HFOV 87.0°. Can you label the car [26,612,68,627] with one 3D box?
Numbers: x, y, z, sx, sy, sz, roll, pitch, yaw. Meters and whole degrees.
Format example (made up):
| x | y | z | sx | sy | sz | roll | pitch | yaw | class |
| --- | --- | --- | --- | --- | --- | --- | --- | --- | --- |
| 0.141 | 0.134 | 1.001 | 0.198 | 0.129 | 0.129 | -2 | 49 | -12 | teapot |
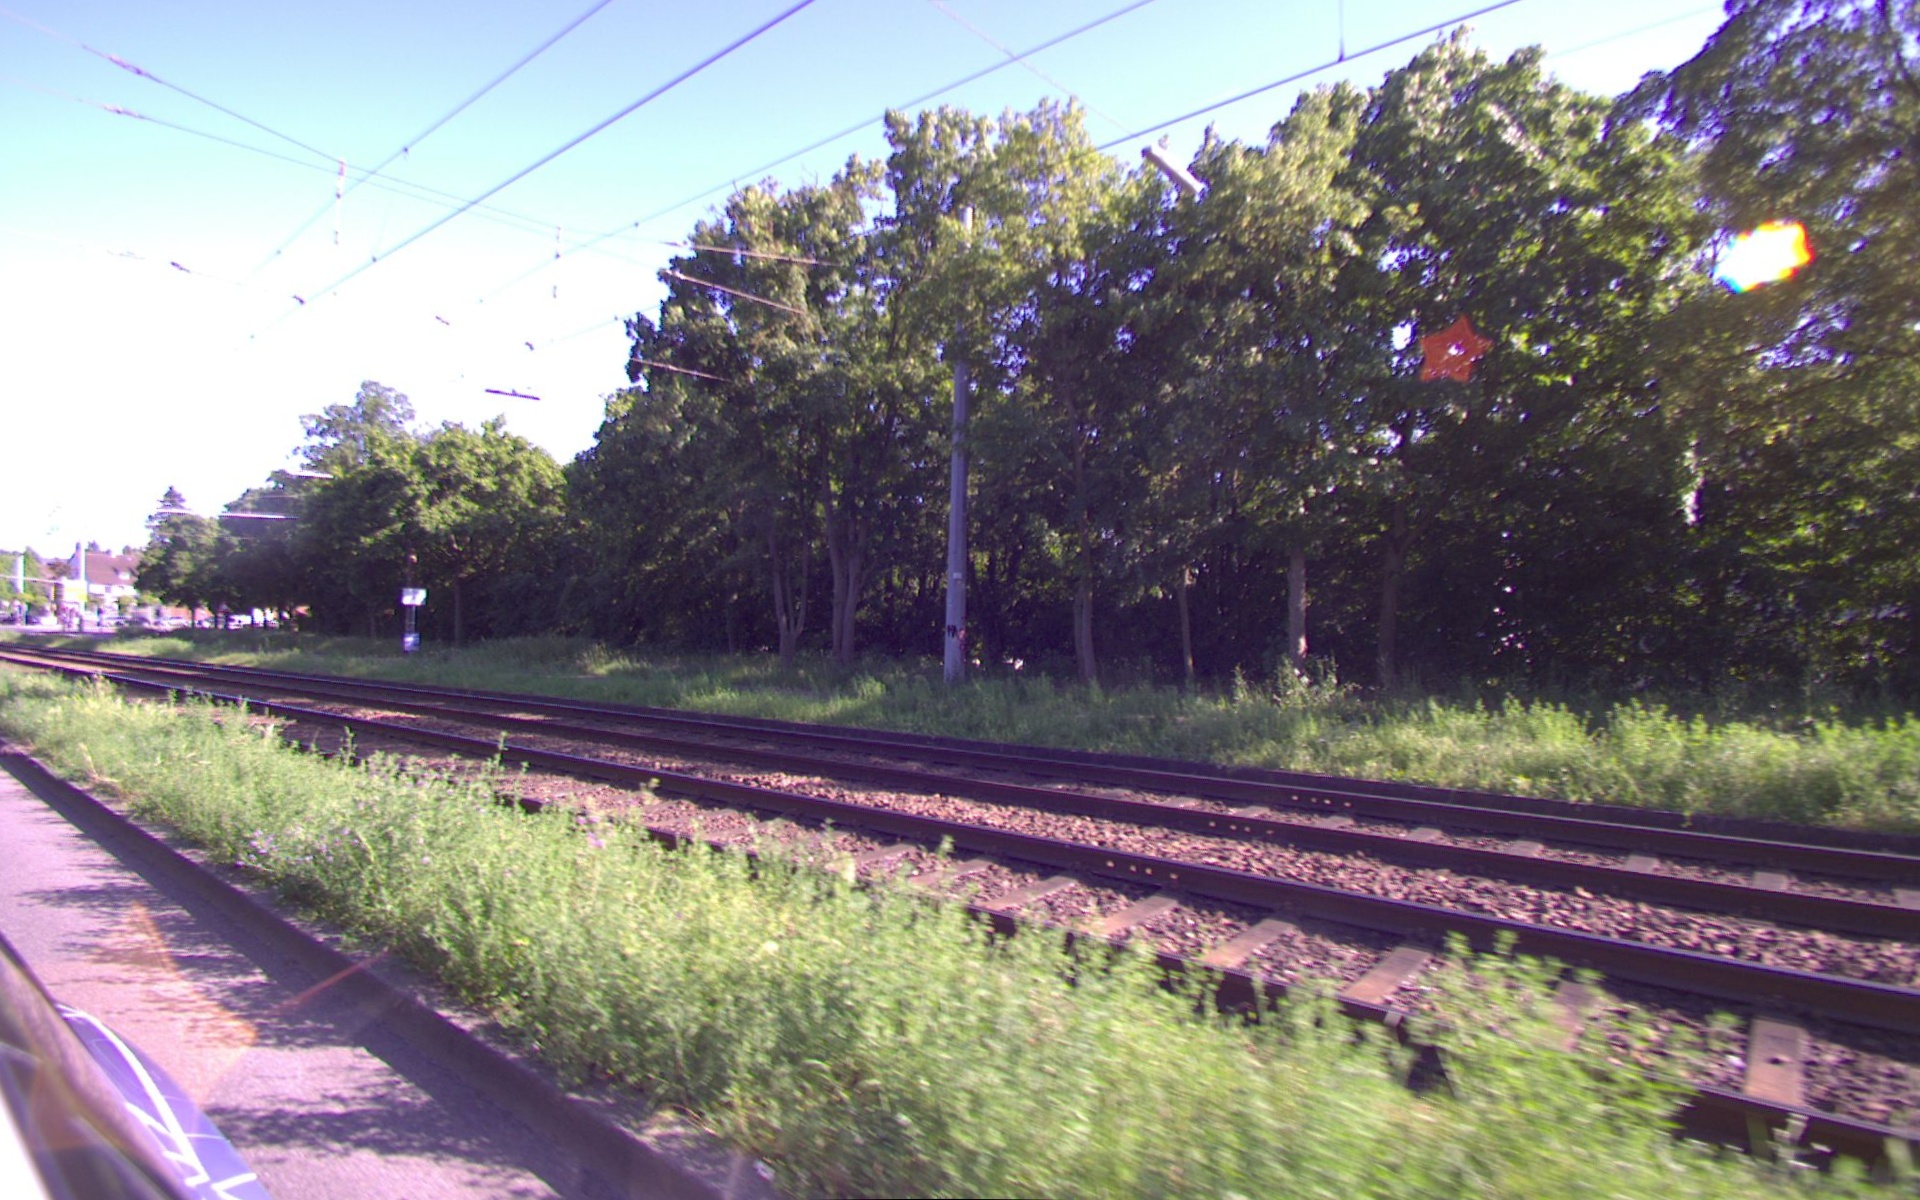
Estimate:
| x | y | z | sx | sy | sz | roll | pitch | yaw | class |
| --- | --- | --- | --- | --- | --- | --- | --- | --- | --- |
| -129.069 | 2.715 | 143.039 | 1.958 | 1.962 | 3.972 | -1 | 0 | 21 | car |
